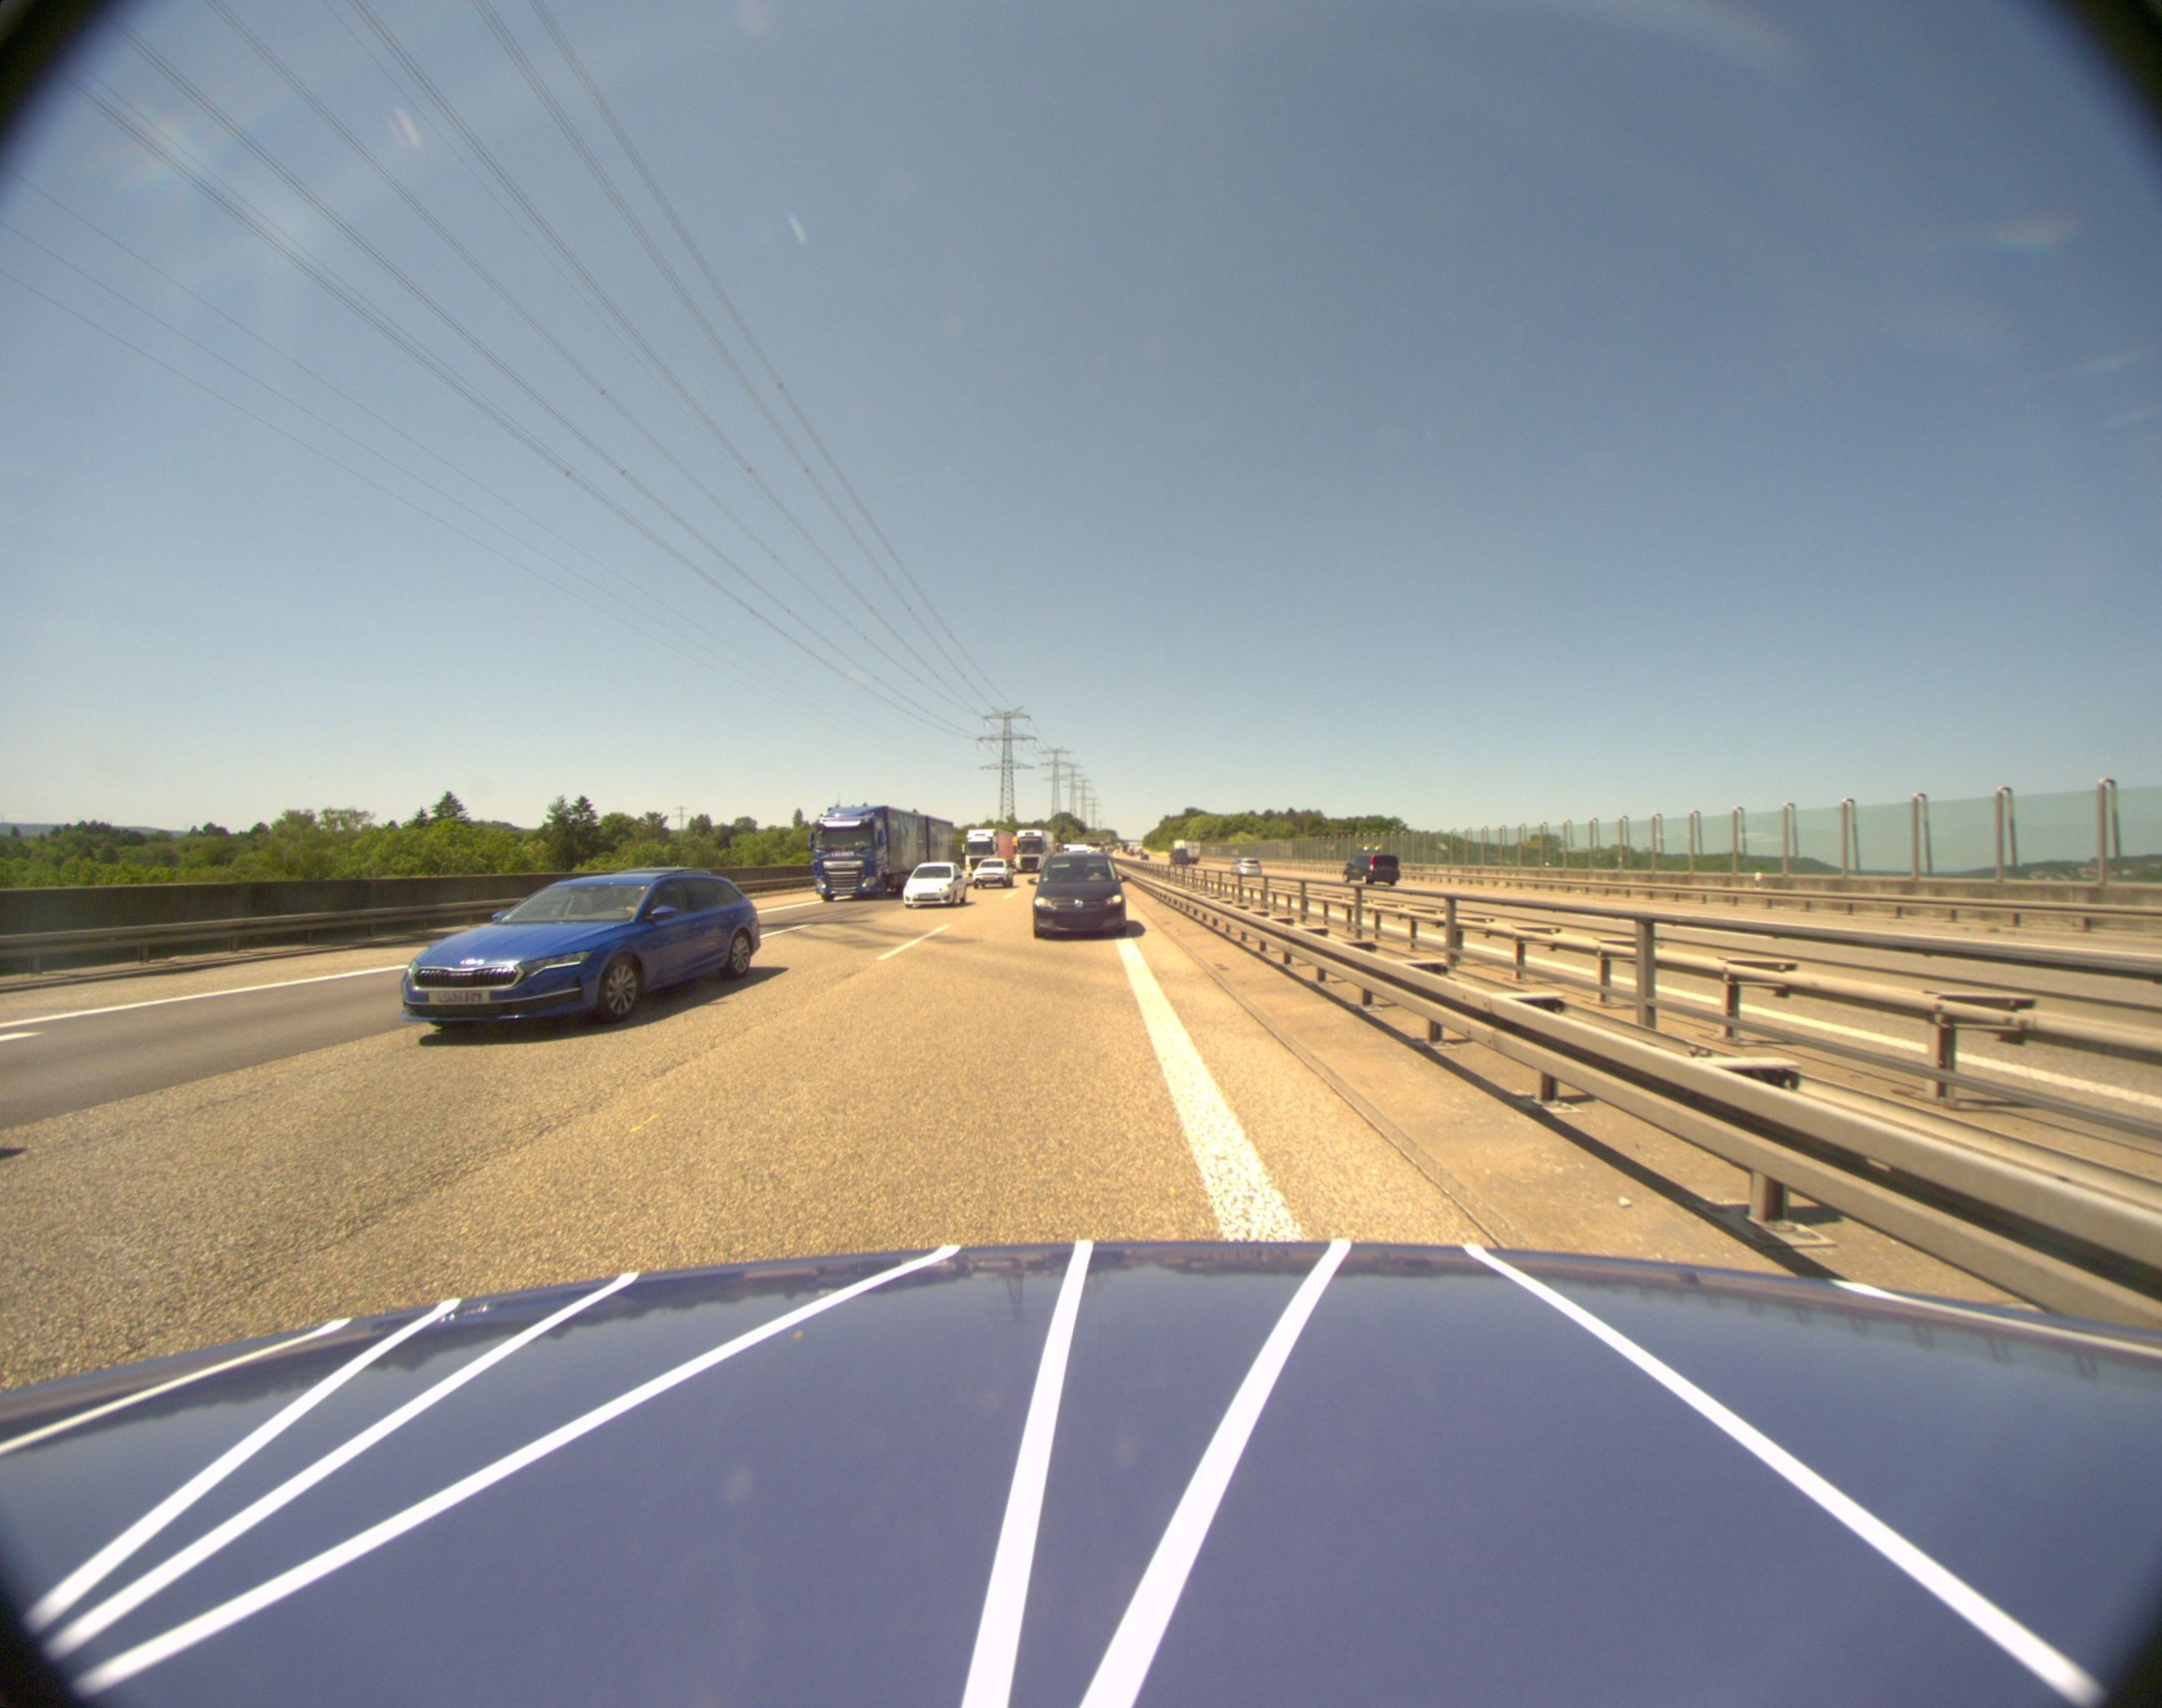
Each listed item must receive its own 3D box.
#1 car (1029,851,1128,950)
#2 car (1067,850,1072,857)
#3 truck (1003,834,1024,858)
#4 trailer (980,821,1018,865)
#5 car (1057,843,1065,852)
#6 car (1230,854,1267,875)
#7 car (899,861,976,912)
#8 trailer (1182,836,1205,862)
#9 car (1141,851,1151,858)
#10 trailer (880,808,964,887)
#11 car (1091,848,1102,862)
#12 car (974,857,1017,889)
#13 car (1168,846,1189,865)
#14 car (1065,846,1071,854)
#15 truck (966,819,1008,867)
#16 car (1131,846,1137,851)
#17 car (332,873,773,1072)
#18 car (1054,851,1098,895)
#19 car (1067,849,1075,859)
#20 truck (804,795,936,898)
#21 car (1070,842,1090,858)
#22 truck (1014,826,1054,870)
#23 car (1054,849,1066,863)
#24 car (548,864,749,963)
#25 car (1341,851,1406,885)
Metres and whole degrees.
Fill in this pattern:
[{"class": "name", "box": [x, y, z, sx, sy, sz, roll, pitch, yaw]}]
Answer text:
[{"class": "car", "box": [-0.031, 0.818, 15.482, 1.713, 1.669, 3.931, -2, 1, 0]}, {"class": "car", "box": [-3.718, -0.234, 248.131, 1.704, 2.116, 3.999, 2, 1, 1]}, {"class": "truck", "box": [-8.761, -1.107, 99.364, 2.251, 2.965, 6.242, 2, 1, -1]}, {"class": "trailer", "box": [-8.221, -1.064, 76.853, 2.608, 4.094, 9.084, -2, 1, 1]}, {"class": "car", "box": [-4.899, -1.541, 185.871, 1.704, 2.116, 3.999, 2, 1, 1]}, {"class": "car", "box": [13.203, 0.797, 60.012, 1.998, 1.535, 4.385, 1, 1, 1]}, {"class": "car", "box": [-4.804, 1.056, 26.028, 1.712, 1.443, 4.144, -2, 1, 1]}, {"class": "trailer", "box": [19.124, -0.928, 129.848, 2.912, 4.282, 13.663, 1, 1, 4]}, {"class": "car", "box": [14.909, 0.155, 174.596, 1.777, 1.483, 4.605, 0, 0, 1]}, {"class": "trailer", "box": [-9.084, -0.412, 44.544, 2.835, 4.066, 8.637, -2, 1, 1]}, {"class": "car", "box": [2.590, 0.179, 125.205, 1.704, 2.116, 3.999, -2, 1, 1]}, {"class": "car", "box": [-4.498, 0.974, 40.539, 1.712, 1.501, 4.144, -2, 1, 1]}, {"class": "car", "box": [13.783, 0.231, 107.370, 1.999, 2.567, 6.649, 1, 1, -1]}, {"class": "car", "box": [-3.656, -1.233, 214.006, 1.704, 2.116, 3.999, 2, 1, 1]}, {"class": "truck", "box": [-8.295, -0.969, 68.110, 2.608, 3.964, 8.263, -2, 1, 0]}, {"class": "car", "box": [18.229, -1.884, 260.608, 1.844, 1.812, 4.746, 0, 1, 0]}, {"class": "car", "box": [-5.372, 1.063, 8.676, 1.712, 1.443, 4.563, -2, 1, 1]}, {"class": "car", "box": [-0.172, 0.771, 32.451, 1.713, 1.669, 3.931, -2, 1, 0]}, {"class": "car", "box": [-2.238, -0.085, 167.418, 1.704, 2.116, 3.999, 2, 1, 1]}, {"class": "truck", "box": [-9.281, -0.371, 35.028, 2.859, 3.927, 10.393, -2, 1, 1]}, {"class": "car", "box": [-0.054, -0.400, 77.369, 1.924, 1.501, 3.996, -2, 1, 1]}, {"class": "truck", "box": [-4.289, -0.558, 71.543, 2.849, 3.804, 8.264, -2, 1, 2]}, {"class": "car", "box": [-3.165, 0.266, 114.825, 1.704, 2.116, 3.999, 2, 1, 1]}, {"class": "car", "box": [-8.803, 1.108, 15.944, 1.712, 1.645, 4.117, -2, 1, 1]}, {"class": "car", "box": [17.842, 0.802, 46.578, 1.962, 1.894, 4.949, 1, 1, -1]}]
